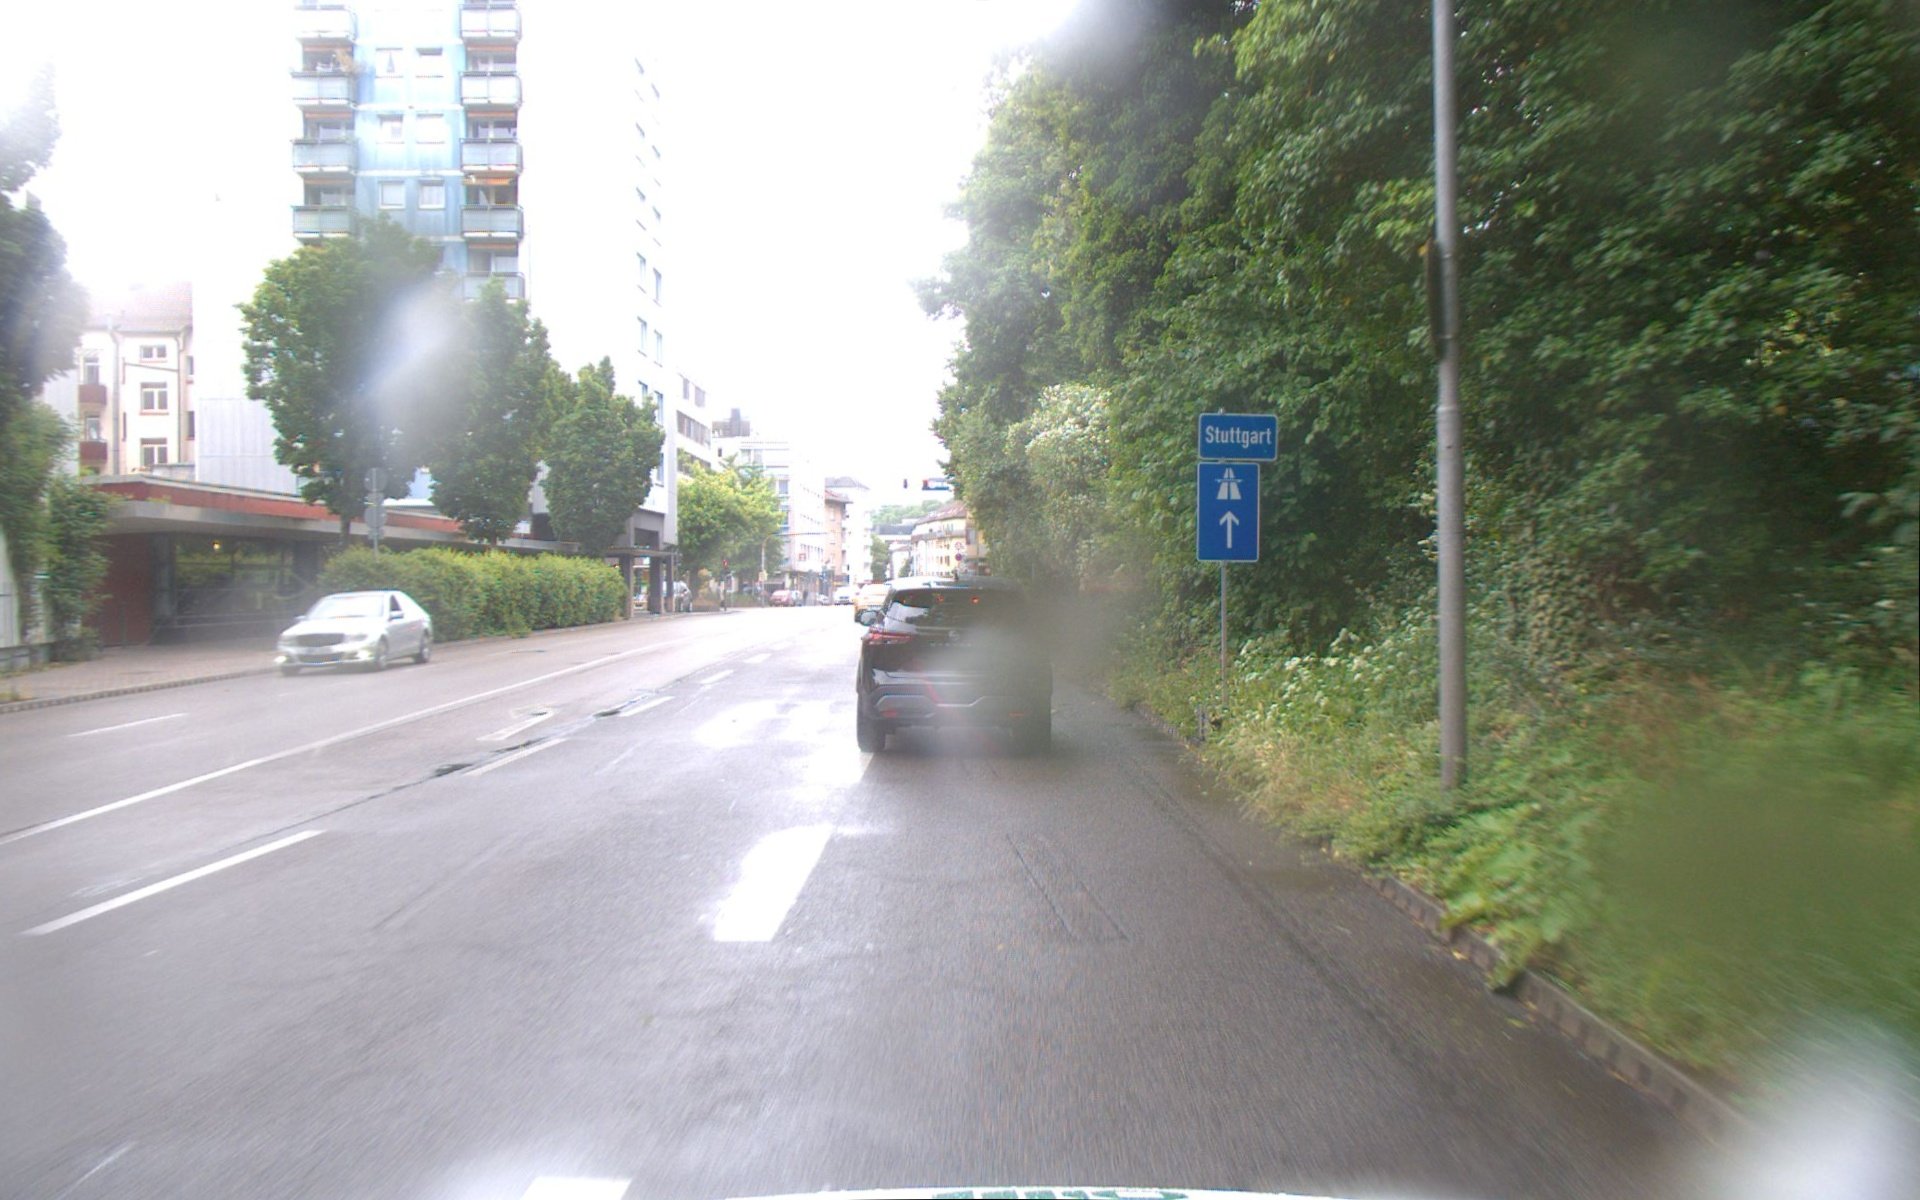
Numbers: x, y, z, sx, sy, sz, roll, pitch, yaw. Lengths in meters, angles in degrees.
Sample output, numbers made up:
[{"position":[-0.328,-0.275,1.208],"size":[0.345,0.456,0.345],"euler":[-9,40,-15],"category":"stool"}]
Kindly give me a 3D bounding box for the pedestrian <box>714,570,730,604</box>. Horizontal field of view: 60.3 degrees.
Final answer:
[{"position":[-14.493,-0.796,100.879],"size":[0.923,2.049,0.884],"euler":[-1,0,-9],"category":"pedestrian"}]

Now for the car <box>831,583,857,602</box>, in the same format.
[{"position":[-9.877,-0.656,140.647],"size":[1.956,1.478,3.994],"euler":[-1,1,-8],"category":"car"}]

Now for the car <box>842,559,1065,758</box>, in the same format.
[{"position":[-0.104,0.457,16.303],"size":[1.920,1.681,4.000],"euler":[-1,2,-2],"category":"car"}]

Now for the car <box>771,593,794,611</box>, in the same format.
[{"position":[-15.410,0.139,143.863],"size":[1.639,1.504,3.607],"euler":[-2,0,-2],"category":"car"}]

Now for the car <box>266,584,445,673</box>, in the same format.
[{"position":[-11.029,0.462,30.551],"size":[1.837,1.414,4.623],"euler":[-2,1,-4],"category":"car"}]

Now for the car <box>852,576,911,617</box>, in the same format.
[{"position":[-2.951,-0.146,63.194],"size":[2.024,1.489,4.586],"euler":[0,1,0],"category":"car"}]

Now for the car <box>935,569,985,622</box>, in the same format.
[{"position":[0.001,-0.211,66.175],"size":[1.953,2.049,4.000],"euler":[-1,1,0],"category":"car"}]

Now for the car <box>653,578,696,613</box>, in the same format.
[{"position":[-14.807,-0.246,85.868],"size":[1.508,1.735,4.287],"euler":[0,0,0],"category":"car"}]

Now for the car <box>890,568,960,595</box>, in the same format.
[{"position":[-2.382,-1.286,112.335],"size":[1.966,1.780,4.774],"euler":[0,1,44],"category":"car"}]

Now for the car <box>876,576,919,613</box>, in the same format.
[{"position":[-2.649,-0.233,70.520],"size":[1.708,1.513,4.161],"euler":[-1,0,-1],"category":"car"}]
